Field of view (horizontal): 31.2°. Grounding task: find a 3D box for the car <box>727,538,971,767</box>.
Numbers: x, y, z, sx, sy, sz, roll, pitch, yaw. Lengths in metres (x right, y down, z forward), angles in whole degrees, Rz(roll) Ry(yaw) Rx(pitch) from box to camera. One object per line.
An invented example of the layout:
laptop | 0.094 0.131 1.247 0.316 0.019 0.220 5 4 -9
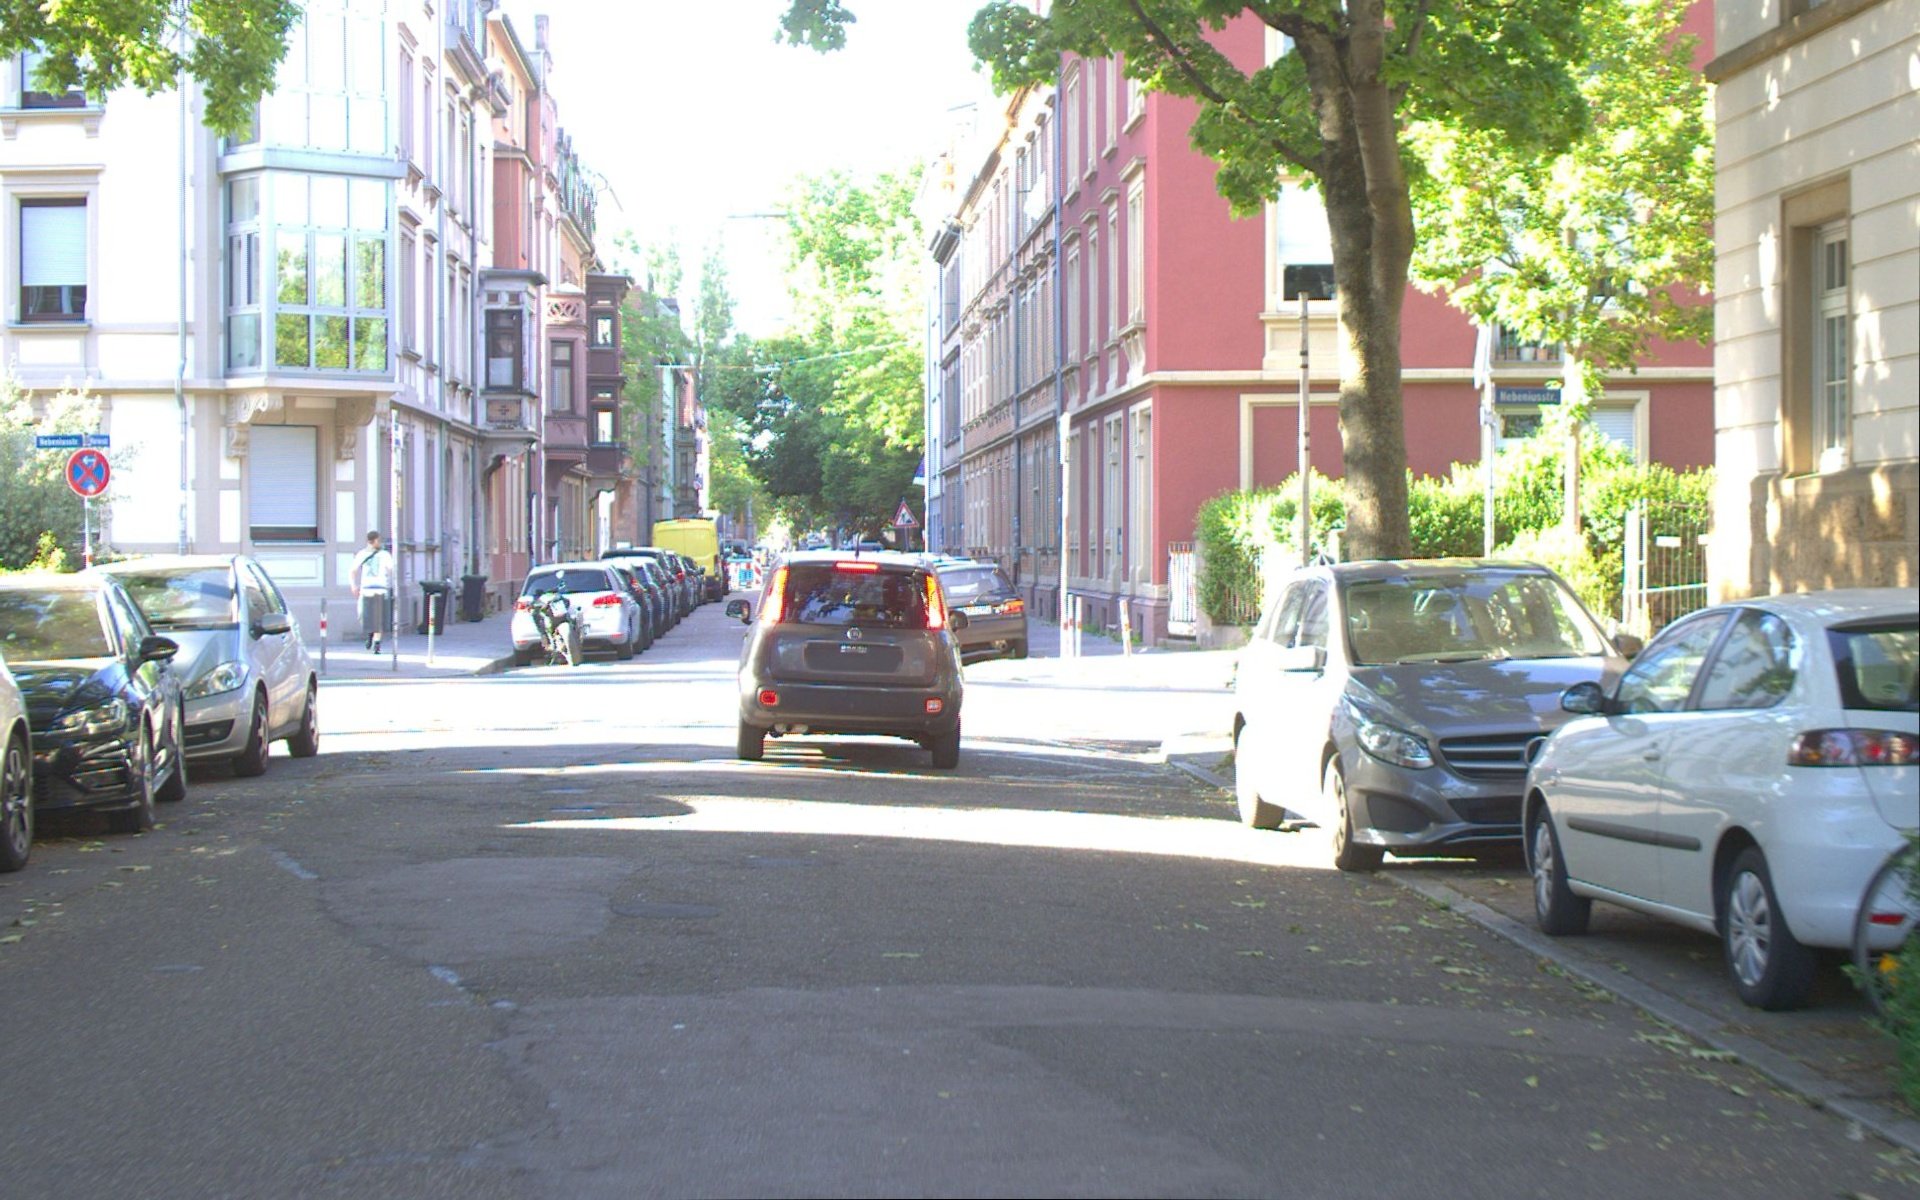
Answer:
car | -0.882 0.343 25.591 1.632 1.545 3.265 2 1 -4

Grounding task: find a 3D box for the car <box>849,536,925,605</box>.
car | -1.681 -0.702 78.659 1.663 1.500 3.757 1 1 -2

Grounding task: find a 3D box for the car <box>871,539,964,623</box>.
car | -0.823 -0.376 65.007 1.663 1.500 3.757 1 1 -2

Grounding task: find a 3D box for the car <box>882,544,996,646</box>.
car | -0.360 -0.098 54.017 1.663 1.500 3.757 1 1 -2

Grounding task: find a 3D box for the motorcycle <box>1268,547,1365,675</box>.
motorcycle | 4.289 0.110 41.168 1.020 1.399 2.191 0 3 9

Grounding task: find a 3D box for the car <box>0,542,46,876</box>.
car | -5.325 0.580 14.963 1.824 1.548 4.134 -4 1 -5

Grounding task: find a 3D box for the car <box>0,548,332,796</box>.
car | -5.715 0.452 25.045 1.696 1.545 3.920 -3 1 -3

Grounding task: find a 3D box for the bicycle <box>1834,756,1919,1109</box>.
bicycle | 3.536 0.945 10.118 1.715 0.946 0.733 -1 1 -2

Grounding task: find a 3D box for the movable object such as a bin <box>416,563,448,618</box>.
movable object such as a bin | -9.144 -0.168 59.528 0.511 0.949 0.501 0 1 -5

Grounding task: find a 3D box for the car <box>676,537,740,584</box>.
car | -8.747 -1.375 119.581 1.961 1.474 3.925 -3 1 -2

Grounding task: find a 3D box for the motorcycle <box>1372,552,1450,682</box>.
motorcycle | 5.303 0.175 40.559 0.826 1.399 2.556 0 3 6

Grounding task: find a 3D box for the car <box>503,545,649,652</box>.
car | -5.739 -0.052 51.767 1.797 1.427 3.925 -3 1 -2

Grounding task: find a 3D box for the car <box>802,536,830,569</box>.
car | -7.178 -2.403 171.926 1.367 1.612 3.414 0 1 -2

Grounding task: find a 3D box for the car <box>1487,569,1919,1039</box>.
car | 3.324 0.642 13.137 1.610 1.473 3.871 0 1 -7

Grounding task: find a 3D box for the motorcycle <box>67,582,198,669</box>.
motorcycle | -10.279 0.302 42.773 0.689 0.982 1.820 4 2 18

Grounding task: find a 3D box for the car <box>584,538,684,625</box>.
car | -6.917 -0.421 73.302 1.775 1.693 3.925 -3 1 -2

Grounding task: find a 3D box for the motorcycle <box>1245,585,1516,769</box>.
motorcycle | 2.979 0.546 24.331 1.851 1.262 0.504 -1 1 12

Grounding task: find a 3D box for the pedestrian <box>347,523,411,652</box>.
pedestrian | -8.367 -0.192 49.536 0.723 1.833 0.626 1 1 9

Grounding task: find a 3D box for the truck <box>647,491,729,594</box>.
truck | -8.220 -1.753 104.314 2.070 2.916 5.068 -4 1 -2

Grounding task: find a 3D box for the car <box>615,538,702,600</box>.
car | -7.892 -0.837 90.218 1.961 1.474 3.925 -3 1 -2

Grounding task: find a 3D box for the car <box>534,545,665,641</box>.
car | -5.925 -0.138 56.851 1.777 1.408 3.925 -3 1 -2

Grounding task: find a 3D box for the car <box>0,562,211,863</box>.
car | -5.446 0.594 19.952 1.746 1.469 4.465 -4 2 -8

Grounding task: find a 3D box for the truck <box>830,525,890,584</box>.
truck | -3.445 -1.583 118.224 1.993 1.985 4.001 0 1 -3

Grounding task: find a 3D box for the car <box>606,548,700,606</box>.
car | -7.345 -0.560 82.582 1.961 1.220 3.925 -3 1 -2

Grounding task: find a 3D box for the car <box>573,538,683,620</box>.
car | -6.541 -0.439 68.153 1.828 1.474 3.925 -3 1 -2

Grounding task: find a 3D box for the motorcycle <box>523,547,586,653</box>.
motorcycle | -5.721 -0.013 48.468 0.696 1.455 1.751 -1 1 -12

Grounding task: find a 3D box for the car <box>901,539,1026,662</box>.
car | 0.019 -0.029 49.534 1.663 1.663 3.757 1 1 -2

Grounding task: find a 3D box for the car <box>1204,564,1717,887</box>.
car | 2.589 0.583 18.865 1.788 1.545 4.410 0 1 -5

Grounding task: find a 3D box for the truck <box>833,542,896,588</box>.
truck | -3.143 -1.161 112.856 1.993 1.451 4.001 0 1 -3

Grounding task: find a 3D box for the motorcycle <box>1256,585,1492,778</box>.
motorcycle | 2.823 0.547 23.513 1.502 1.262 0.619 -1 1 -3
